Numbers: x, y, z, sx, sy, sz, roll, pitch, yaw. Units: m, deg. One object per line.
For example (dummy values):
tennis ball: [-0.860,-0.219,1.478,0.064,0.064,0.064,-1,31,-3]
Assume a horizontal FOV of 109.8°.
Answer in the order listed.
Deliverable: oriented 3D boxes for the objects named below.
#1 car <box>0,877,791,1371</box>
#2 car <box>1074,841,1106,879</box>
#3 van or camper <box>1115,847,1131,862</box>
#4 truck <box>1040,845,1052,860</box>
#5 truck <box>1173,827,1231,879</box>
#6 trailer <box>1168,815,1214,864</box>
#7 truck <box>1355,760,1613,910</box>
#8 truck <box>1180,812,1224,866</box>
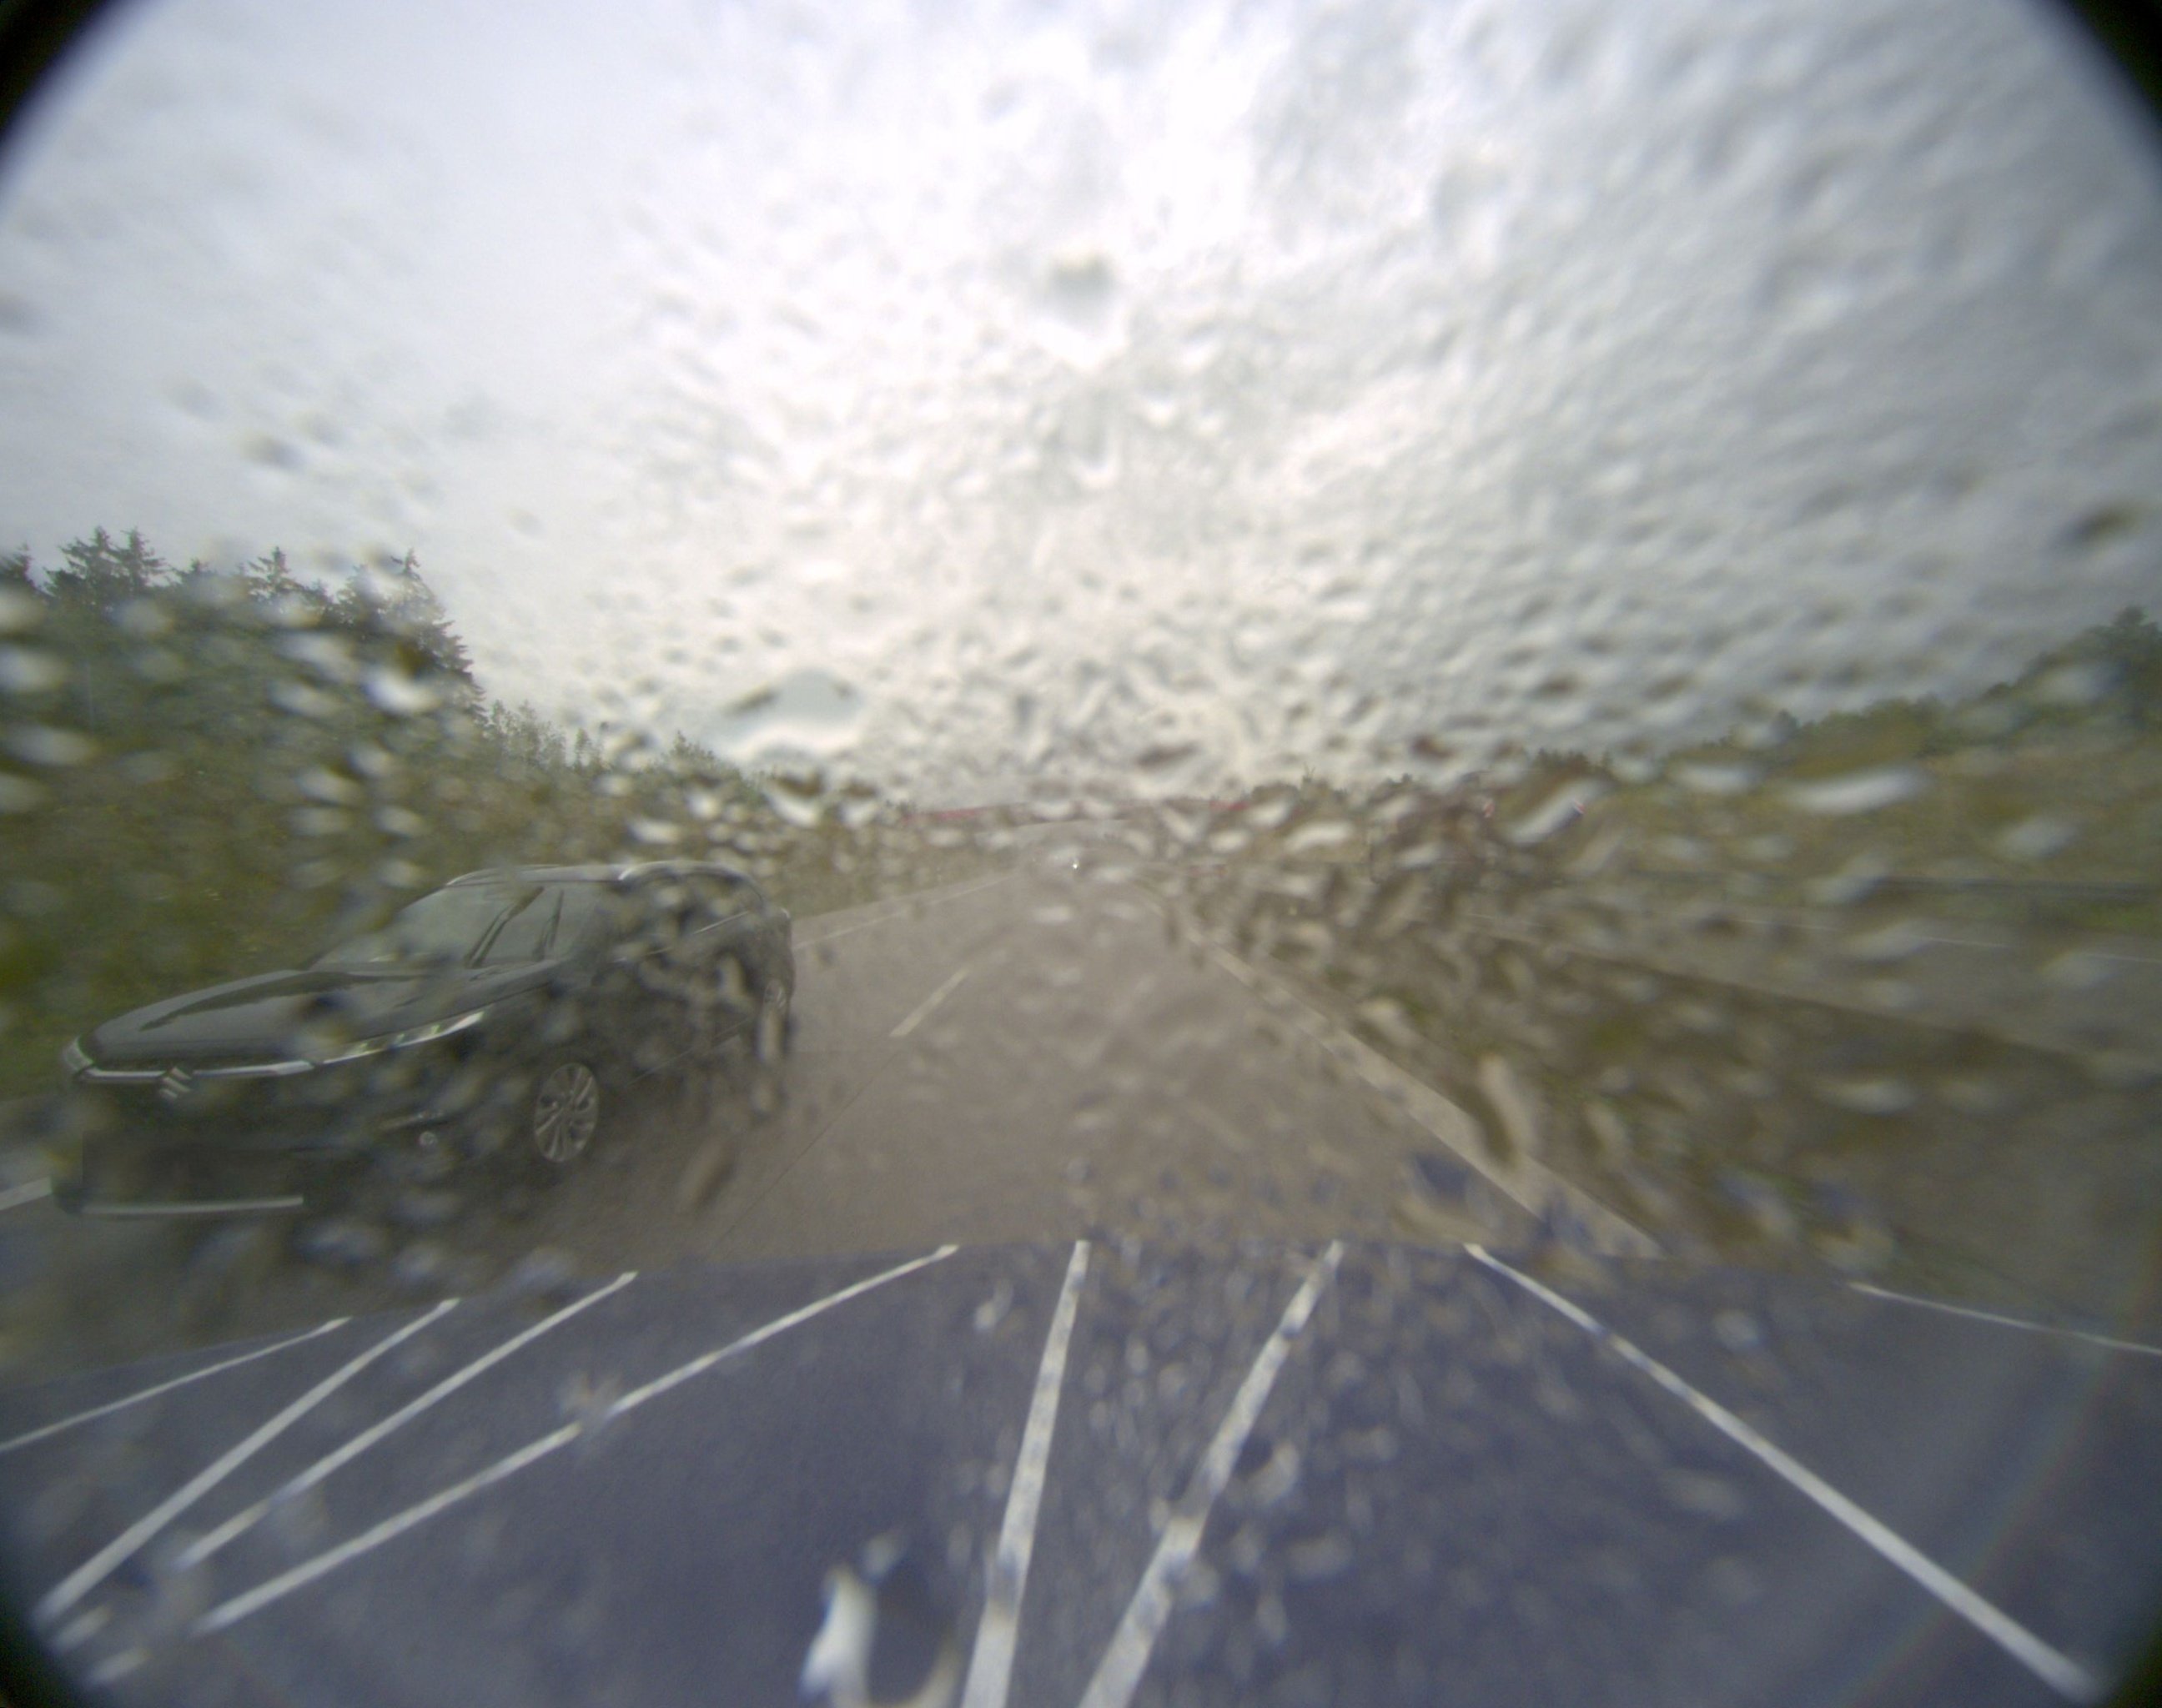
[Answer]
car: [-3.364,1.001,4.453,1.899,1.567,3.631,-2,0,-1]
car: [0.526,0.428,45.457,1.795,2.113,4.526,0,-2,1]
van or camper: [8.005,0.081,146.677,2.450,2.579,7.928,-3,-1,-1]
truck: [-9.820,-0.456,214.474,2.768,4.062,5.435,1,-2,-8]
truck: [6.831,-0.071,43.728,2.338,2.766,6.160,-1,0,0]
trailer: [10.858,-1.361,76.246,2.855,4.494,11.337,-2,0,0]
truck: [11.195,-0.474,22.454,3.176,3.512,8.364,-1,0,0]
truck: [10.788,-1.309,68.357,2.828,4.494,6.624,-2,1,0]
